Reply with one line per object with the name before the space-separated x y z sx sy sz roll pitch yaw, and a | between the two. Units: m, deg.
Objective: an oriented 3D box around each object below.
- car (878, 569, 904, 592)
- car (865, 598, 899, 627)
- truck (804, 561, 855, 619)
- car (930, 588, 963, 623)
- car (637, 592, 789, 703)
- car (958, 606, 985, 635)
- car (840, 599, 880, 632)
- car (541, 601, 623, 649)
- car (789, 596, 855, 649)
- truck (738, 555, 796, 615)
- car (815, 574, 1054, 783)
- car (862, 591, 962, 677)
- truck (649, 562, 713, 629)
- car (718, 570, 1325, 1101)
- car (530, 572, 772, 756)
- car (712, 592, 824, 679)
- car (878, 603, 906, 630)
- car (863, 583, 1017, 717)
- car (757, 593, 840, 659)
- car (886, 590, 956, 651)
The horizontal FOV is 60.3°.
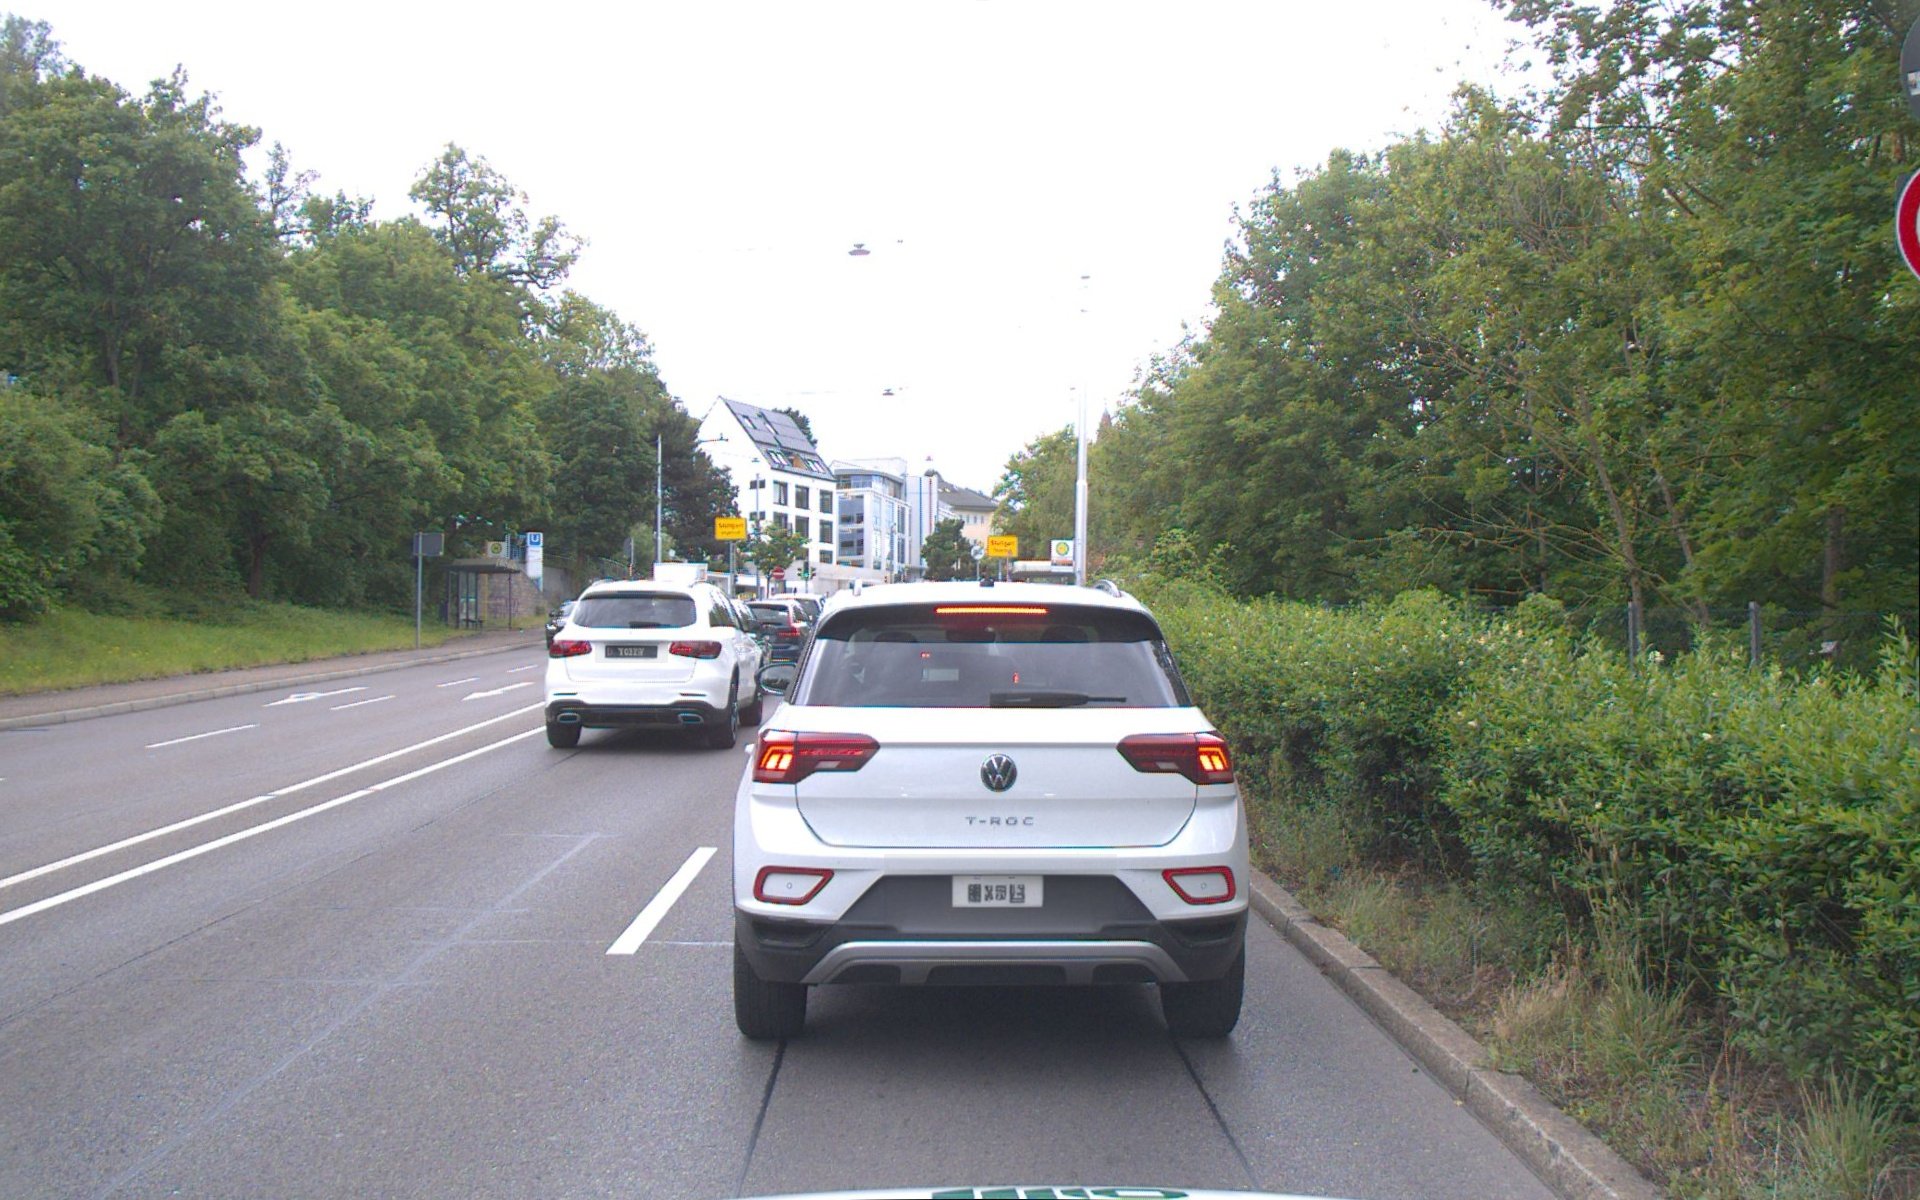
car | -4.868 -1.336 116.732 1.792 1.552 3.999 -1 0 -2
car | -4.276 0.658 91.536 1.792 1.552 3.999 -1 0 -2
truck | -6.680 -0.526 85.299 2.315 2.830 4.476 -1 0 -2
car | -0.849 0.343 100.465 1.953 2.049 3.999 -1 0 -1
car | -3.662 0.660 25.131 1.792 1.523 3.999 -1 0 -2
car | 0.835 1.540 122.445 1.953 2.049 3.999 -1 -1 0
car | -4.810 0.725 80.287 1.792 1.552 3.999 -1 0 -2
car | -11.807 0.755 51.959 1.645 1.420 4.359 -1 0 -2
car | -4.221 0.654 51.177 1.792 1.552 3.999 -1 0 -2
truck | -9.365 -0.724 80.608 2.315 2.754 4.476 -1 0 -2
car | -0.247 0.589 14.553 1.792 1.552 3.999 -1 0 -2
car | -0.933 0.620 32.208 1.792 1.552 3.999 -1 0 -2
truck | -13.627 -0.198 81.156 2.247 3.104 6.975 -1 0 -3
car | 0.130 0.685 6.886 1.792 1.552 3.999 0 0 -2
car | -3.107 0.595 17.428 1.879 1.699 3.999 1 0 -2
car | -3.643 0.644 31.944 1.792 1.552 3.999 -1 0 -2
car | -4.471 1.047 109.141 1.778 1.685 3.927 -1 0 -2
car | -0.293 0.583 21.558 1.792 1.552 3.999 -1 0 -2
car | -4.009 0.608 41.535 1.792 1.552 3.999 -1 0 -2
car | -1.058 0.532 44.606 1.792 1.552 3.999 -1 0 -2
